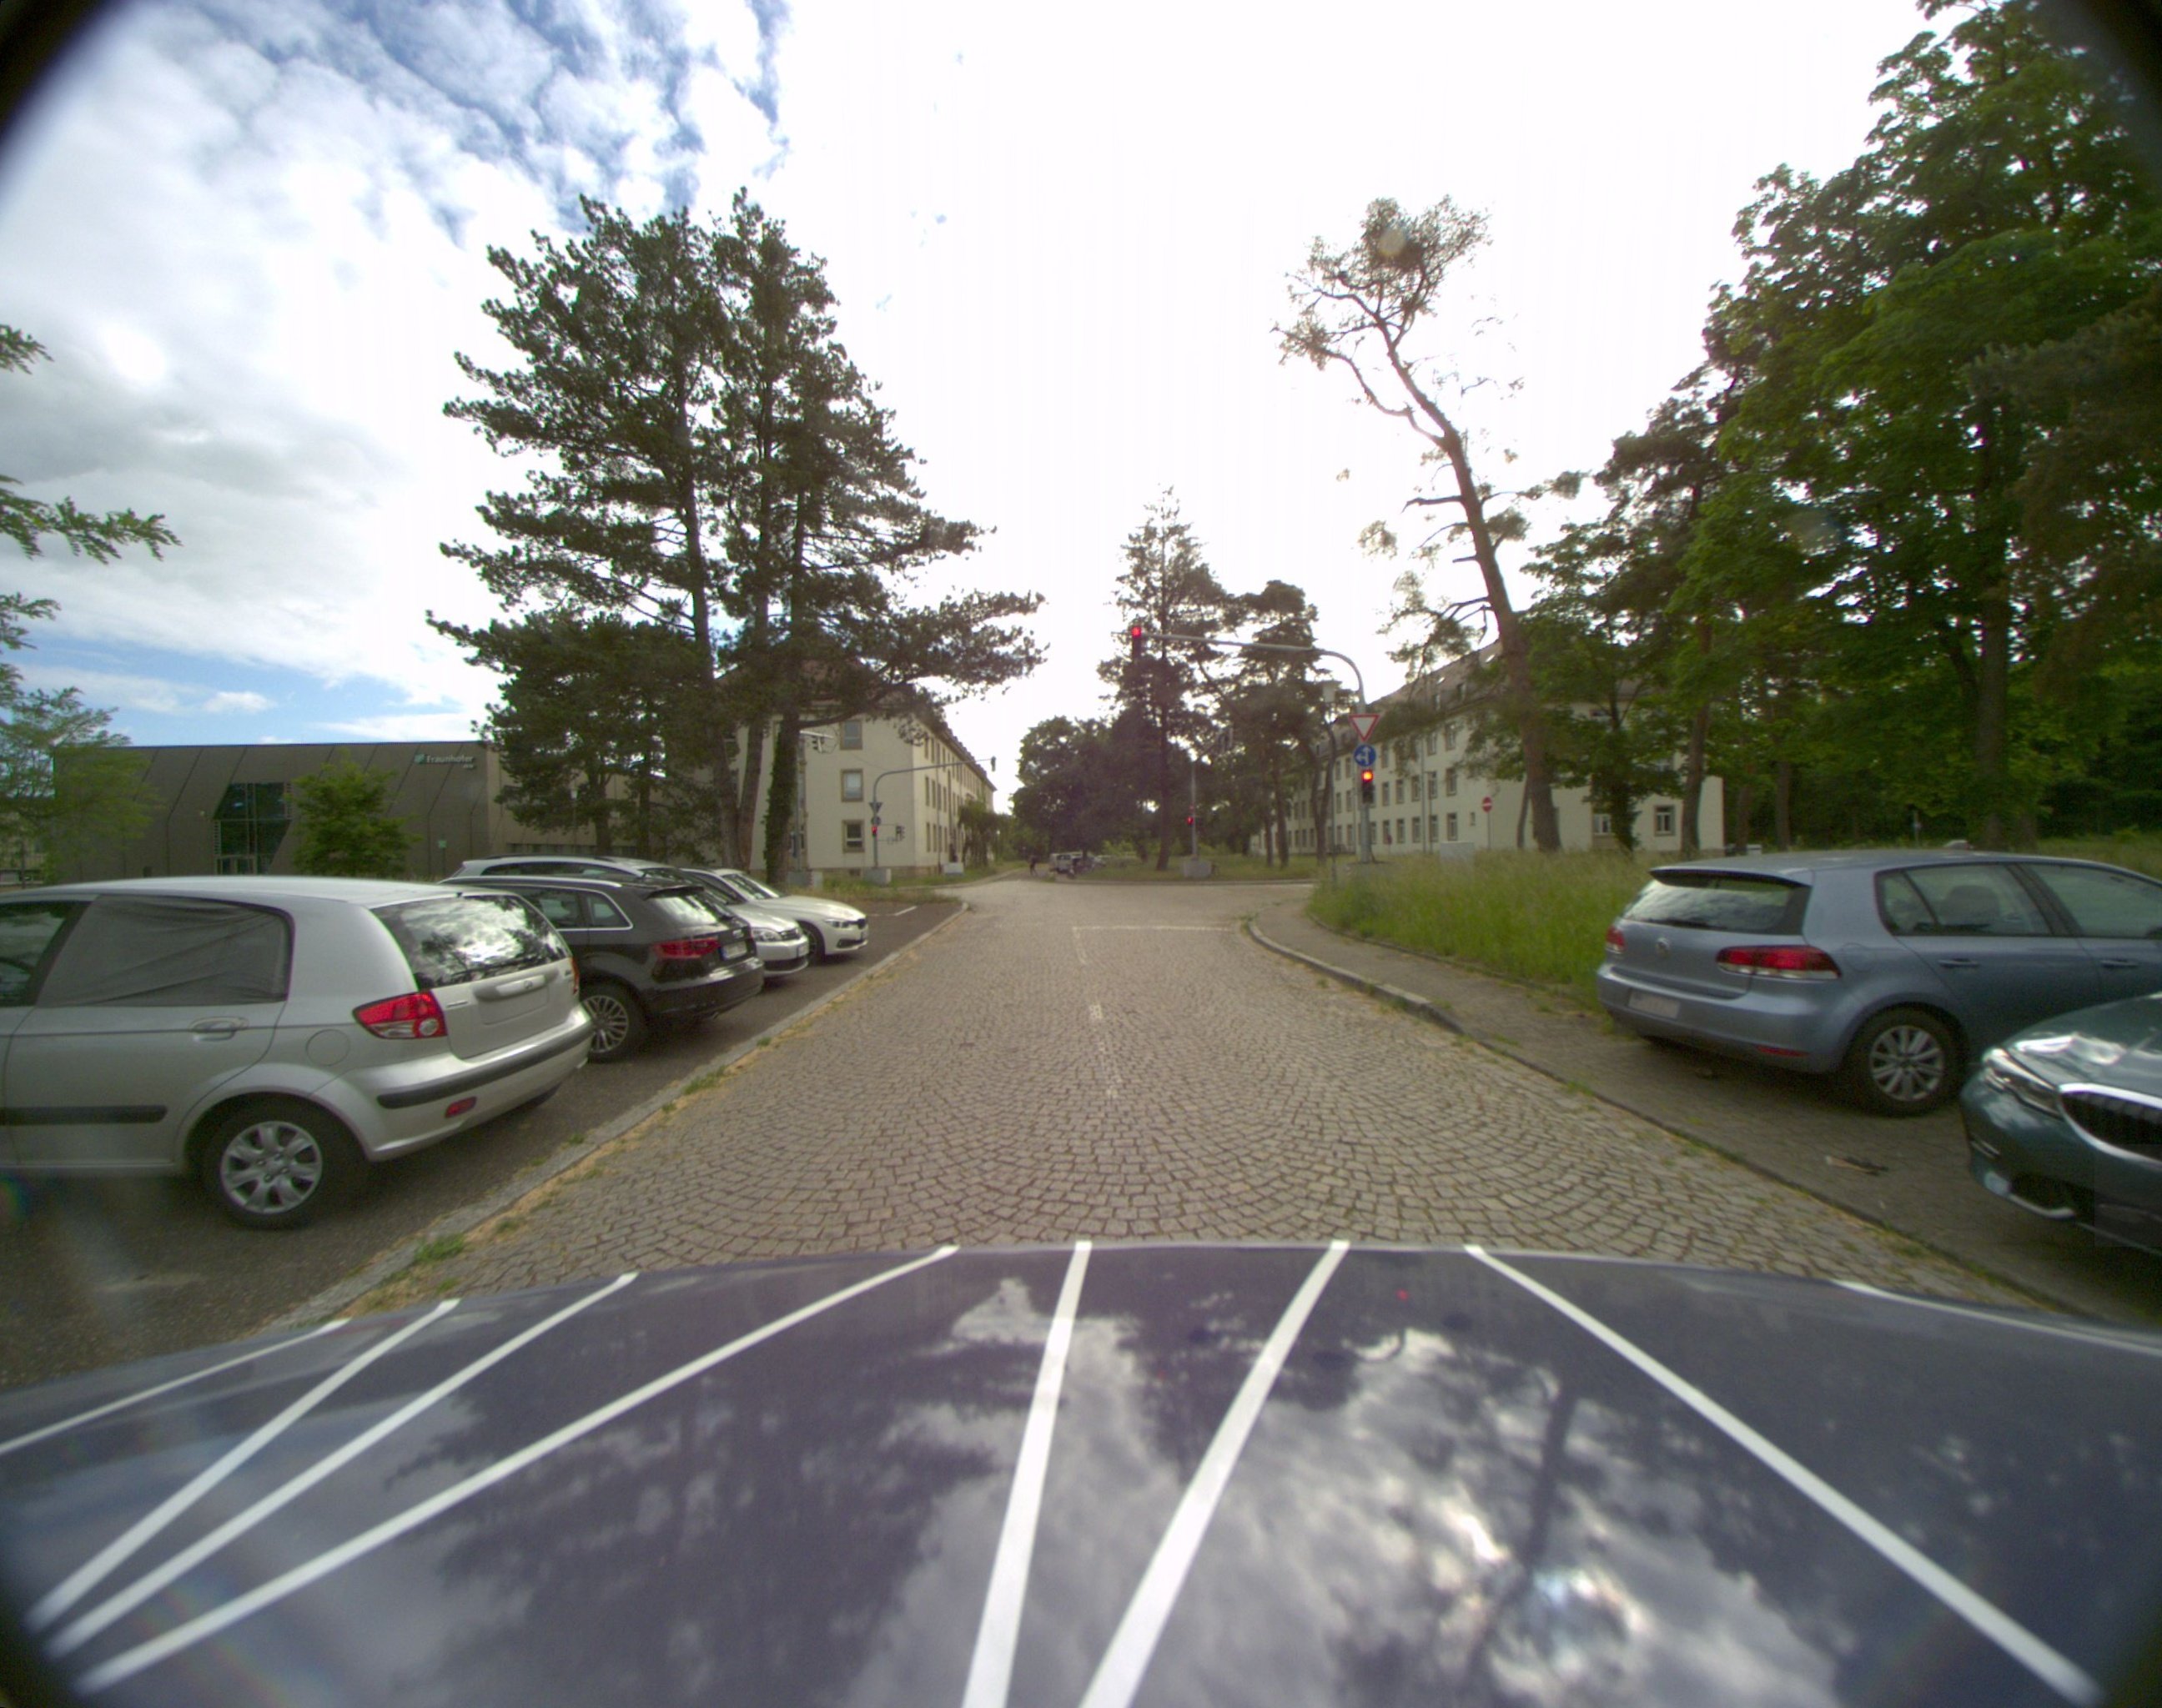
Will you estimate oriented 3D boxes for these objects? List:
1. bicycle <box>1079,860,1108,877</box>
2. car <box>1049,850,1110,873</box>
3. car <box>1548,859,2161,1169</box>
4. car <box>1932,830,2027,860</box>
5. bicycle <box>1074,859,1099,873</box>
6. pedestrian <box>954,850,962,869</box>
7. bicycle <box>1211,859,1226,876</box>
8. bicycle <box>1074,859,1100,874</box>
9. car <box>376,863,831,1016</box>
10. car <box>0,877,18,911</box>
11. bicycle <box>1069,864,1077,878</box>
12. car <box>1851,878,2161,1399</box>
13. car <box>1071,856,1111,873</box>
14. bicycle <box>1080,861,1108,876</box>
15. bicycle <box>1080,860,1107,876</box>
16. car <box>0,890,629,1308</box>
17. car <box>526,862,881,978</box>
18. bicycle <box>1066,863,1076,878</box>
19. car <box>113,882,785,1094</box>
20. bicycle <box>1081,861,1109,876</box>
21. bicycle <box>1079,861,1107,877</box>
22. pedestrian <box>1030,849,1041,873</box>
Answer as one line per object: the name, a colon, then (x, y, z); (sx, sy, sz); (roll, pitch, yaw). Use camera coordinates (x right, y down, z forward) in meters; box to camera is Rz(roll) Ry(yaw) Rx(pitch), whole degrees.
bicycle: (0.891, 1.033, 54.297); (1.951, 1.104, 0.562); (-1, 1, -3)
car: (-0.173, 0.682, 72.144); (5.367, 1.987, 2.289); (-1, 0, -10)
car: (5.675, 0.848, 5.043); (3.998, 1.534, 1.905); (-1, 0, -3)
car: (57.505, -0.580, 48.658); (3.997, 1.796, 1.722); (-1, 0, 1)
bicycle: (0.451, 0.975, 60.327); (1.951, 1.058, 0.562); (-1, 0, -3)
pedestrian: (-11.158, 0.485, 68.818); (0.568, 1.691, 0.532); (-1, 1, 2)
bicycle: (7.480, 0.738, 41.343); (0.294, 0.911, 1.052); (-2, 0, -23)
bicycle: (0.462, 0.984, 59.727); (1.951, 1.058, 0.562); (-1, 0, -3)
car: (-5.468, 0.966, 9.235); (4.252, 1.587, 1.884); (1, 0, -5)
car: (-58.347, 2.162, 38.739); (1.999, 1.820, 4.475); (-1, 0, -3)
bicycle: (-0.536, 1.110, 50.278); (0.459, 0.903, 1.663); (-1, 0, 2)
car: (5.443, 0.860, 2.415); (4.262, 1.539, 1.935); (-1, 0, -5)
car: (0.912, 0.916, 68.541); (3.440, 1.440, 1.913); (-1, 0, -3)
bicycle: (0.957, 1.048, 54.828); (1.951, 1.058, 0.562); (-1, 0, -3)
bicycle: (0.922, 1.031, 55.960); (1.951, 1.058, 0.562); (-1, 0, -3)
car: (-4.891, 1.010, 3.825); (4.085, 1.506, 1.803); (1, 0, -4)
car: (-5.601, 0.965, 11.784); (4.505, 1.556, 1.904); (1, 0, -4)
bicycle: (-0.674, 1.104, 52.096); (0.459, 0.968, 1.663); (-1, 0, 7)
car: (-4.959, 1.039, 6.533); (4.085, 1.444, 1.884); (1, 0, -4)
bicycle: (1.023, 1.037, 55.478); (1.951, 1.058, 0.562); (-1, 0, -3)
bicycle: (0.853, 1.065, 53.741); (1.899, 1.058, 0.616); (-1, 0, -3)
pedestrian: (-3.787, 0.567, 63.181); (0.589, 1.926, 0.792); (-2, 1, -35)
